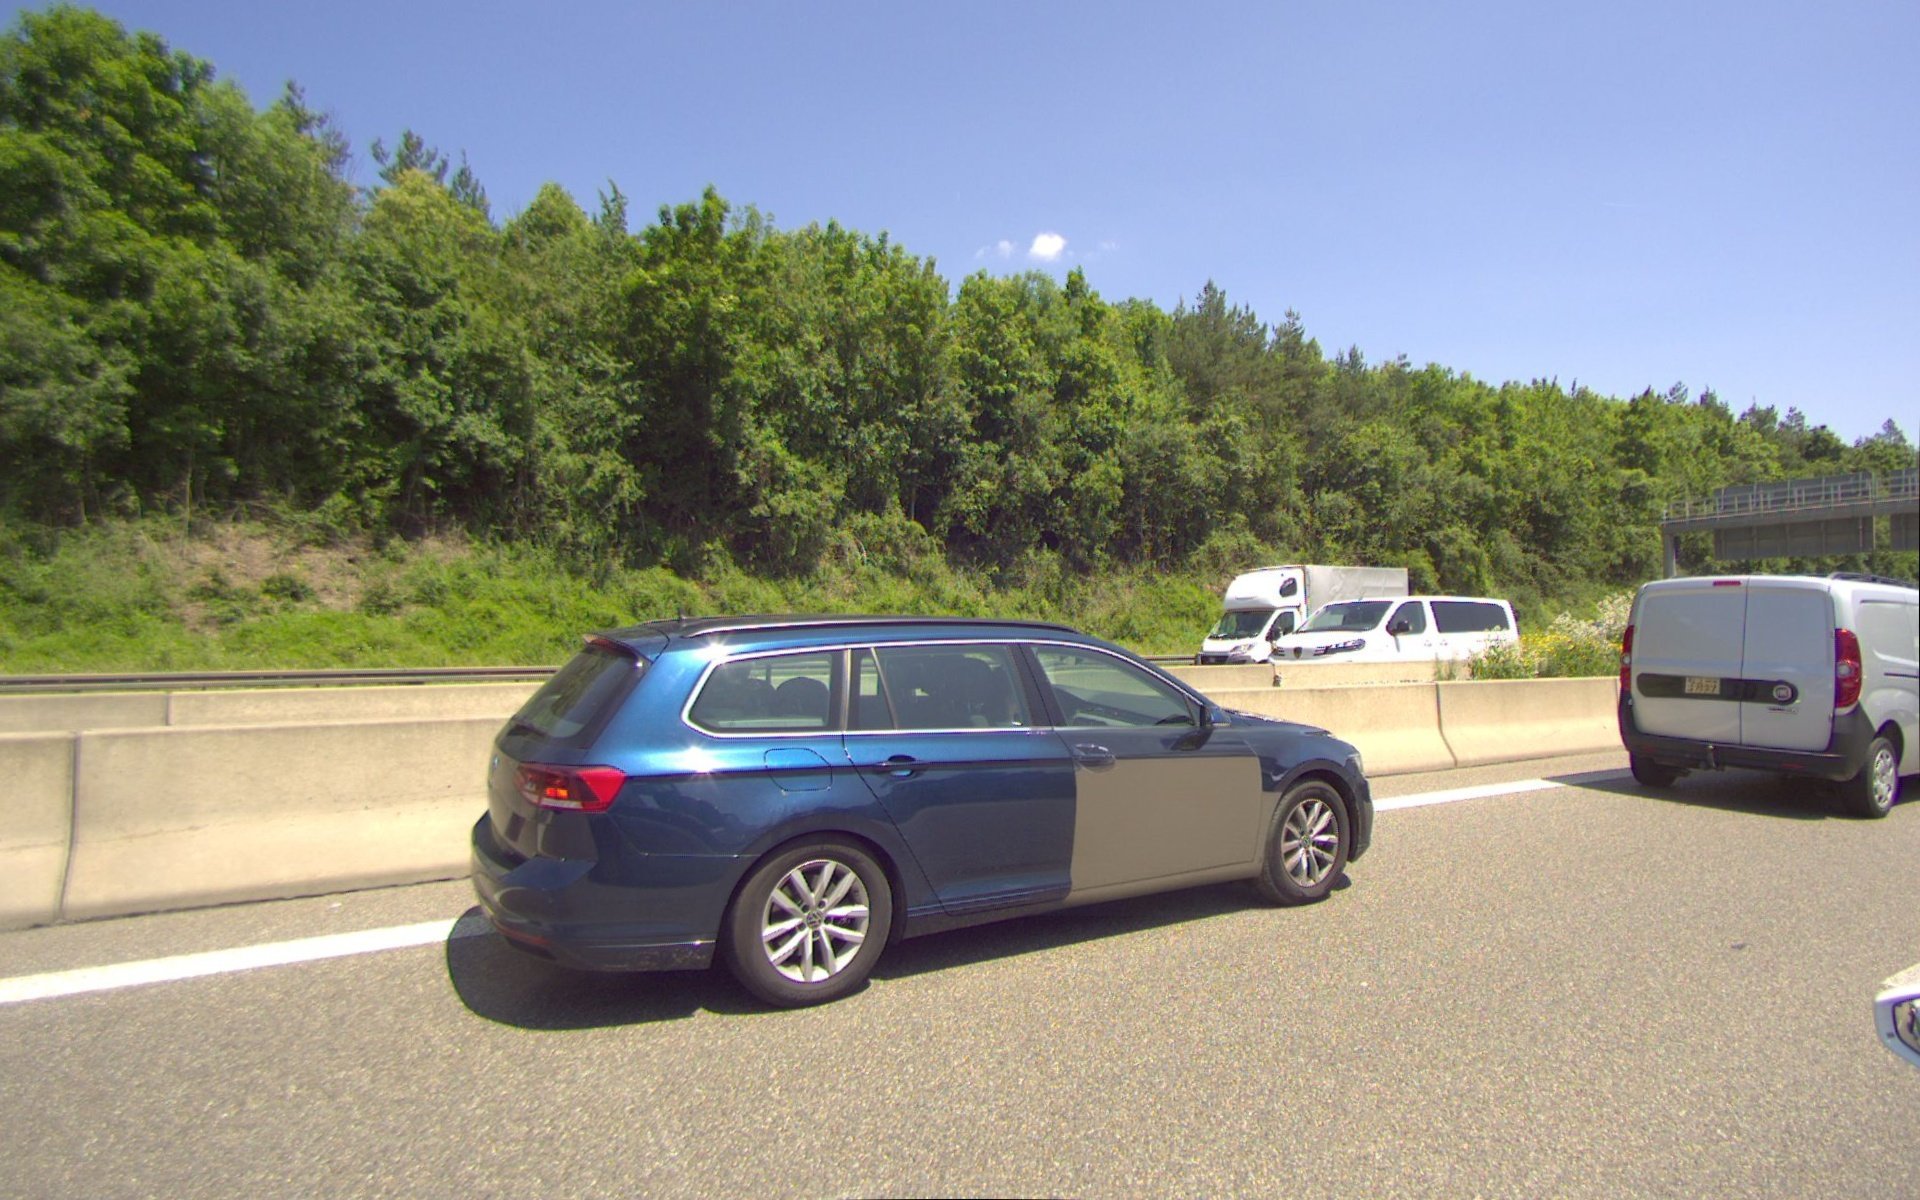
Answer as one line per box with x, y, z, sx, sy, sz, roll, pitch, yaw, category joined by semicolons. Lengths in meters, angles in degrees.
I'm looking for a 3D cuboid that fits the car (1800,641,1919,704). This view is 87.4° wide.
24.646;1.900;27.185;3.956;1.514;1.815;1;-1;-32;car

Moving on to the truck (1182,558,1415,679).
9.184;0.561;26.965;6.667;2.922;2.166;2;-1;-32;truck

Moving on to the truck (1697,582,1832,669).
40.096;1.318;49.979;7.899;4.042;2.678;2;-1;-31;truck

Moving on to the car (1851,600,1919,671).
28.869;1.091;30.197;3.953;2.040;1.984;2;-1;-30;car

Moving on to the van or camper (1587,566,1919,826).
8.001;0.727;9.302;4.508;1.905;1.844;1;0;-30;van or camper

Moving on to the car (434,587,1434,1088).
0.071;0.758;4.958;4.624;1.469;1.865;2;-1;-31;car

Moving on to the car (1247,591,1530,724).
7.516;0.970;17.495;4.899;2.040;1.984;2;-1;-30;car
